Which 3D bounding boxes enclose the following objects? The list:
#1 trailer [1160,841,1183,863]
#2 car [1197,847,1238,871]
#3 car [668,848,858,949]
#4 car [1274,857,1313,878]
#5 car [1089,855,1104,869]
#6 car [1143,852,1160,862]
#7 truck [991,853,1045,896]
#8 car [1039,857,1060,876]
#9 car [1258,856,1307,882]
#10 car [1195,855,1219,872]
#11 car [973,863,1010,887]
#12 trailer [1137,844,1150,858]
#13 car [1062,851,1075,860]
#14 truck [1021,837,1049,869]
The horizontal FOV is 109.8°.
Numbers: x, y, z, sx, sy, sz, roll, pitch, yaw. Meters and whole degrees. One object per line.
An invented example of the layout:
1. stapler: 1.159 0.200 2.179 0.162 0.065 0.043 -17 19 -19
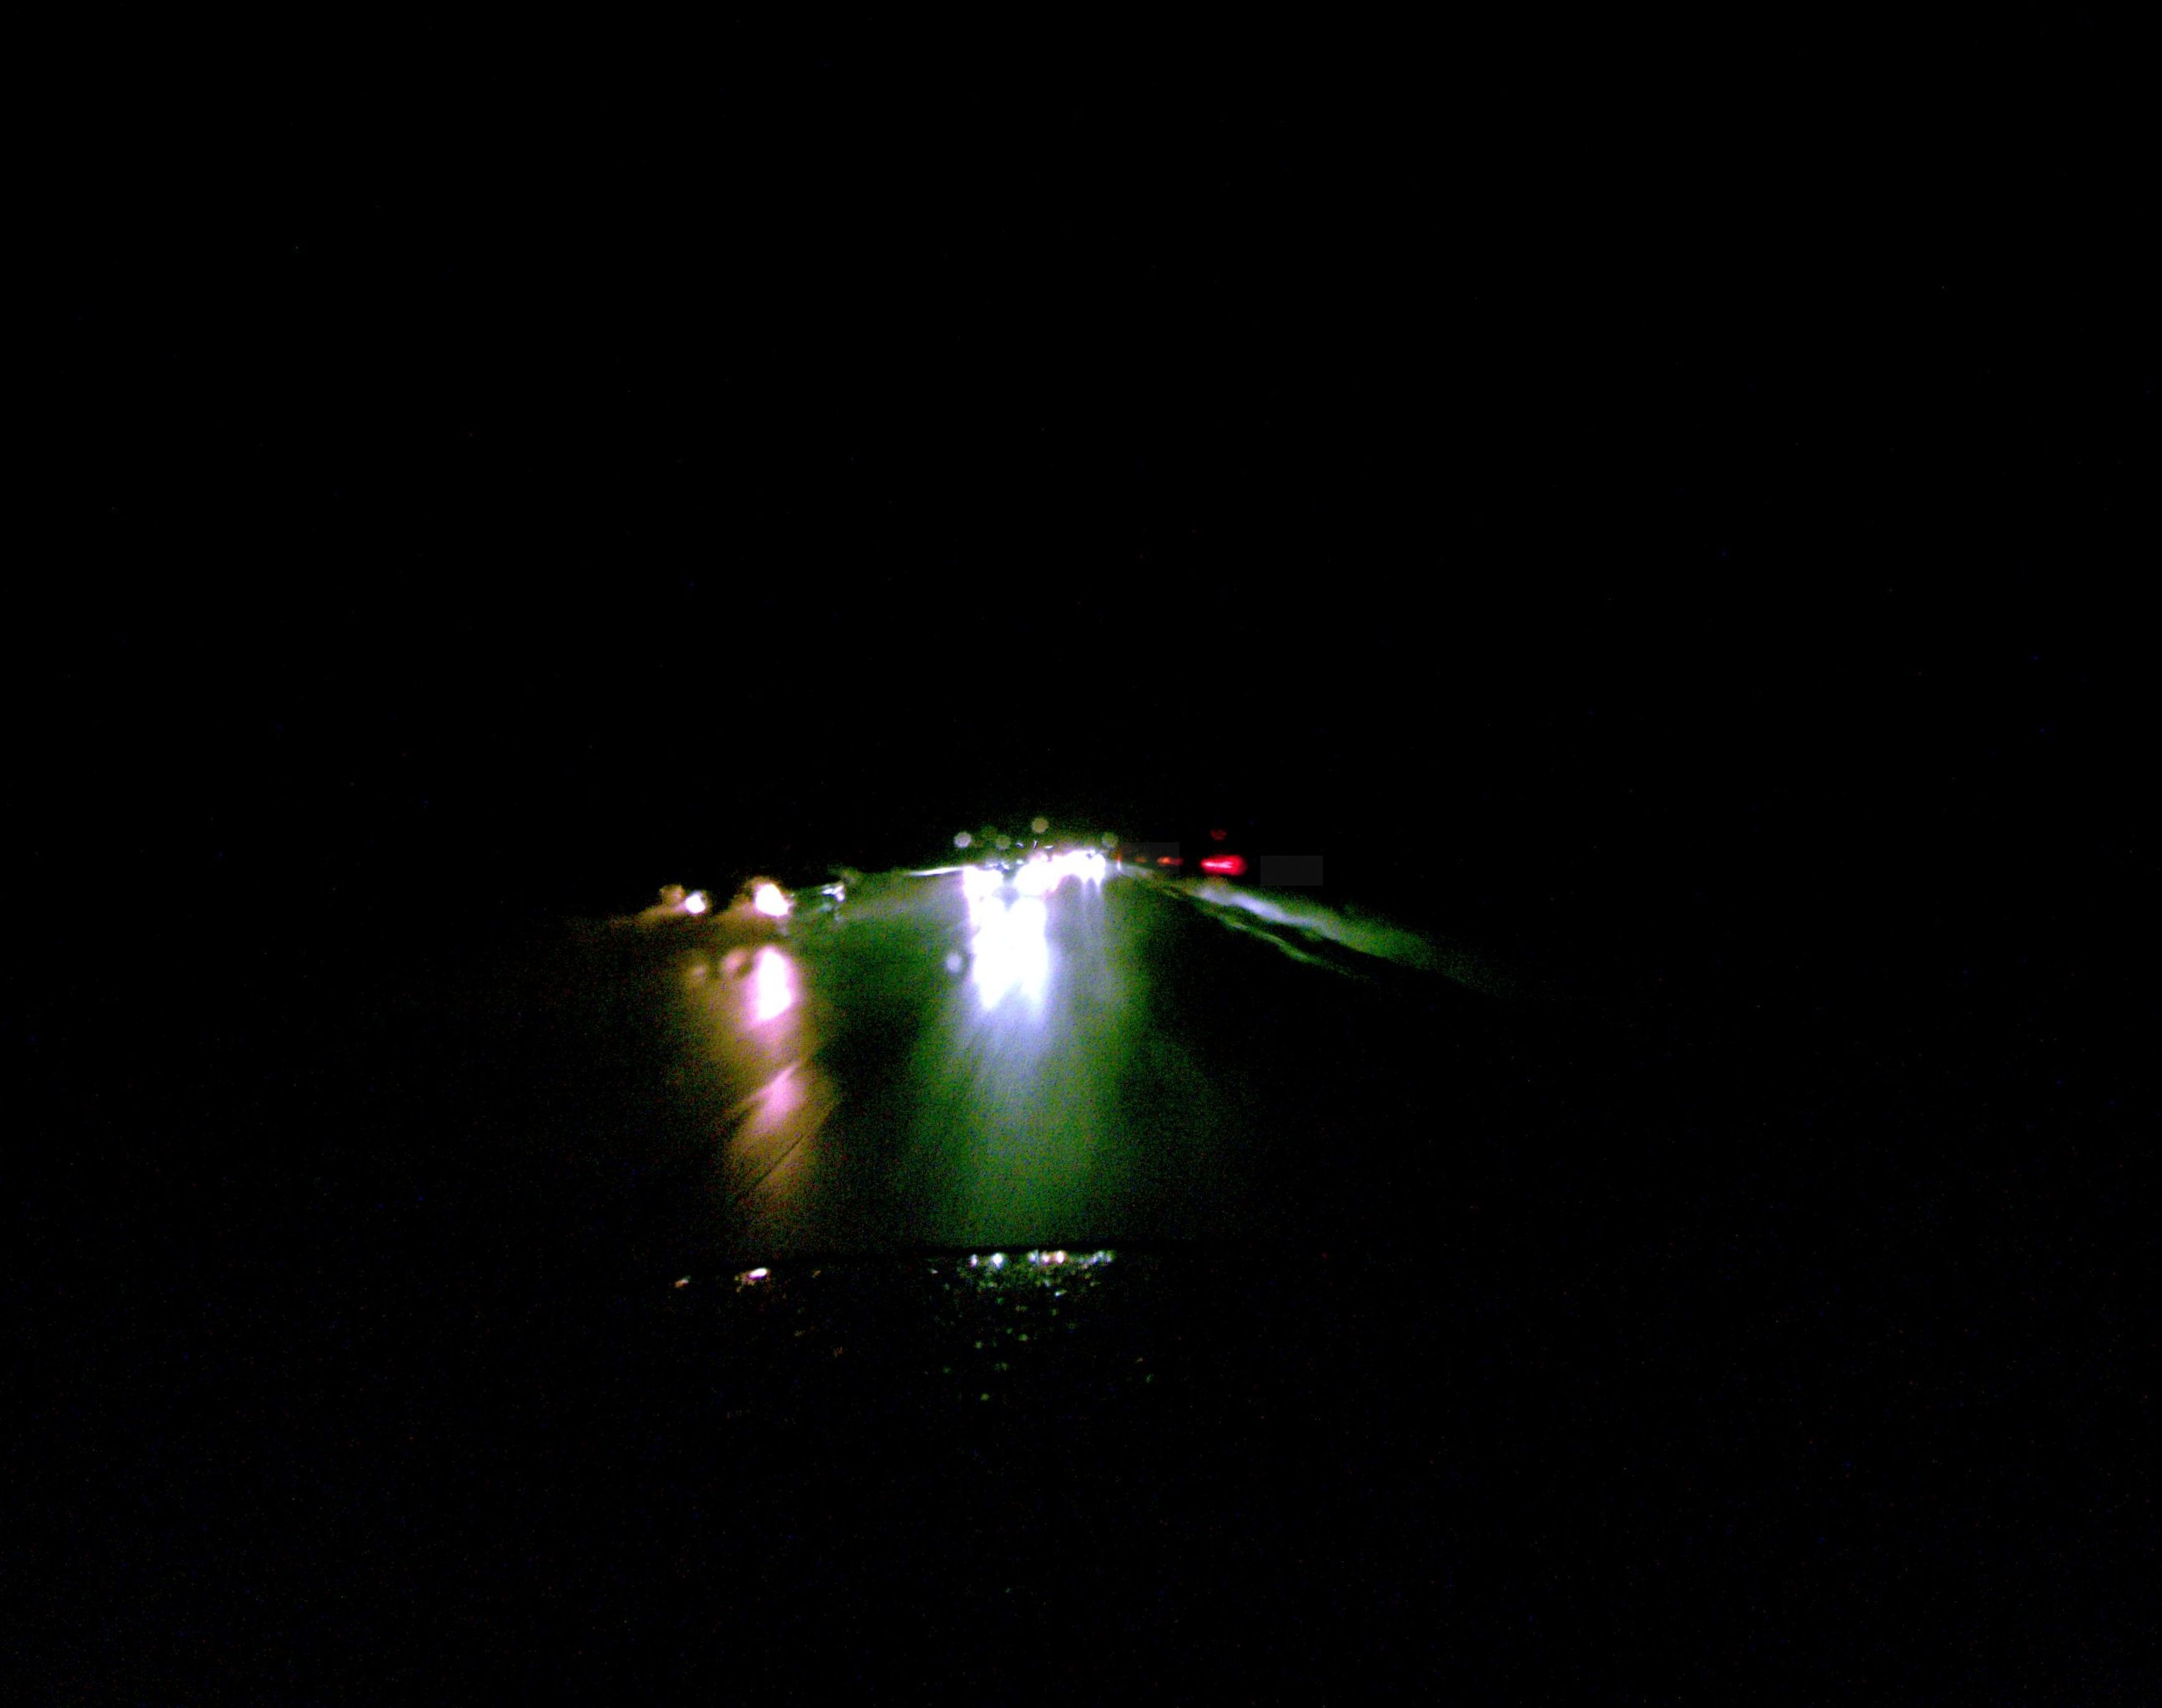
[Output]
1. trailer: 18.605 -0.281 157.822 2.894 4.278 15.719 -2 -1 0
2. car: 9.366 0.353 52.571 1.999 1.607 4.417 0 0 0
3. car: -7.166 0.898 17.909 2.051 1.962 5.407 -2 0 1
4. car: 17.091 1.022 61.288 1.877 1.607 4.501 0 0 0
5. car: 1.757 0.909 86.486 1.619 1.452 3.767 -2 1 2
6. car: 9.648 0.380 104.354 1.967 1.337 4.288 -2 0 0
7. truck: -2.706 0.839 33.648 1.848 1.686 4.854 -2 1 1
8. car: -2.835 1.106 68.970 1.619 1.494 3.767 -2 1 2
9. car: 13.343 0.952 50.671 1.999 1.607 4.745 0 0 0
10. car: 12.867 0.941 77.736 1.654 1.572 5.128 -2 0 1
11. car: -5.978 1.374 51.219 1.747 1.470 5.366 -2 0 0
12. trailer: 19.556 -1.020 238.780 3.056 4.268 14.408 1 0 0
13. car: -2.153 0.250 131.844 1.944 1.521 4.000 -2 1 2
14. truck: -6.119 -0.189 102.091 2.866 4.079 7.014 -3 1 2
